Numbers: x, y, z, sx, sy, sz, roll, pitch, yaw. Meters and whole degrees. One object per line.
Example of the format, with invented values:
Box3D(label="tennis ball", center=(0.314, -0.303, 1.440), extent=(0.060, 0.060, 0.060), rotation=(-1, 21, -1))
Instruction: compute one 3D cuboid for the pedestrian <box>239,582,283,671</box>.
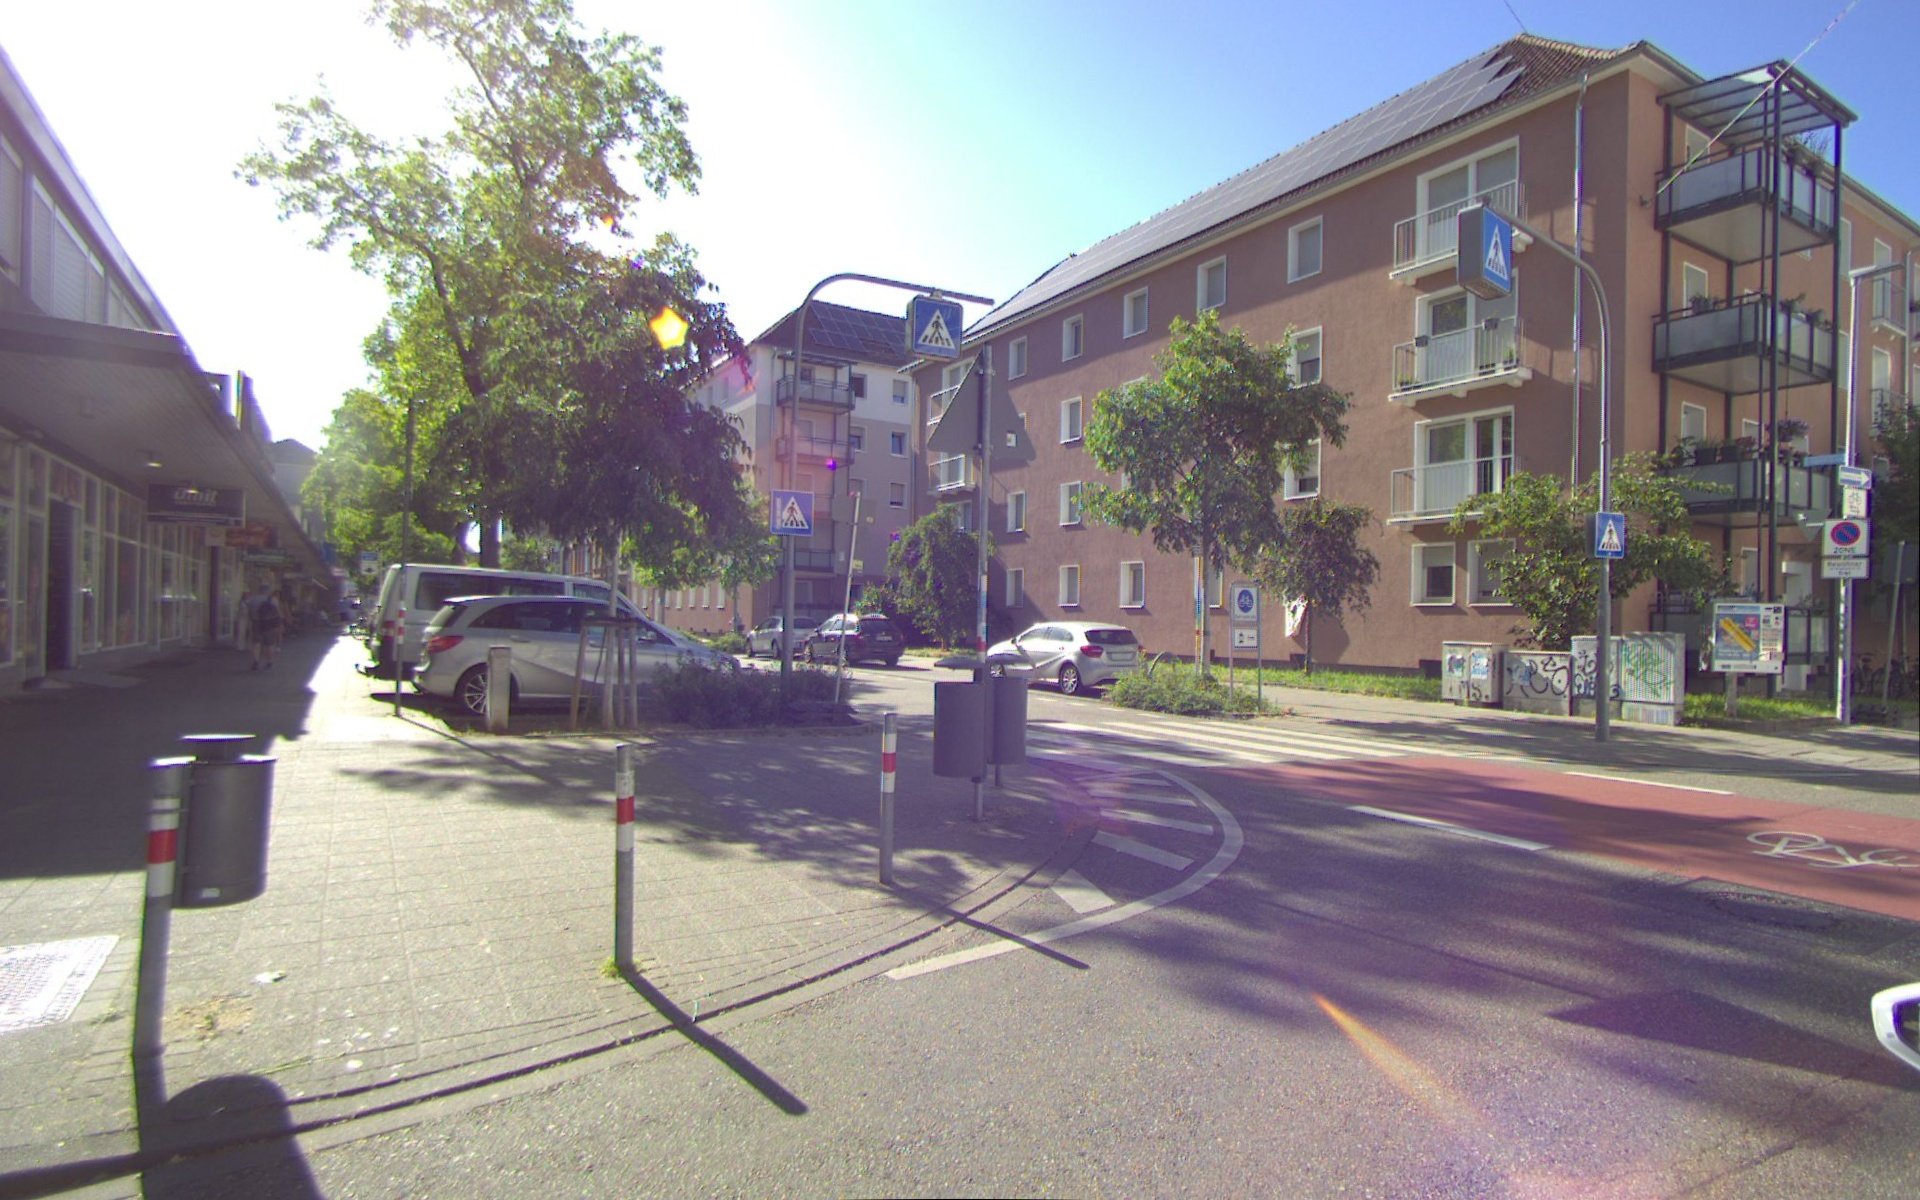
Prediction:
Box3D(label="pedestrian", center=(-13.528, 0.511, 19.449), extent=(0.560, 1.688, 0.707), rotation=(3, -1, -29))

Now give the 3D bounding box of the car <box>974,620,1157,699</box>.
Box3D(label="car", center=(2.126, 1.190, 21.358), extent=(1.726, 1.473, 4.120), rotation=(2, -1, -31))

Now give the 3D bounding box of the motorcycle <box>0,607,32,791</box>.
Box3D(label="motorcycle", center=(-6.432, 0.662, 6.163), extent=(0.662, 1.196, 1.906), rotation=(2, 0, -31))

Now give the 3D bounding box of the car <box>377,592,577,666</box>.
Box3D(label="car", center=(-12.791, 0.800, 26.708), extent=(4.591, 1.828, 1.821), rotation=(2, -2, -33))

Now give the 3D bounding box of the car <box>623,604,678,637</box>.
Box3D(label="car", center=(-14.944, 0.982, 48.392), extent=(1.725, 1.539, 3.827), rotation=(2, -1, -30))

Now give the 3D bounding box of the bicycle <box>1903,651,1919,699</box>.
Box3D(label="bicycle", center=(22.119, 1.731, 22.885), extent=(0.248, 1.086, 1.220), rotation=(1, -1, 8))

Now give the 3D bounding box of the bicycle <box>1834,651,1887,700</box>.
Box3D(label="bicycle", center=(20.907, 1.737, 23.335), extent=(0.285, 1.049, 1.217), rotation=(1, -1, 8))

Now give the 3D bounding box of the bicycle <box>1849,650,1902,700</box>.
Box3D(label="bicycle", center=(21.223, 1.717, 23.304), extent=(0.261, 1.086, 1.217), rotation=(1, -1, 8))

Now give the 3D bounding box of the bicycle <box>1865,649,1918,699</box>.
Box3D(label="bicycle", center=(21.556, 1.702, 23.260), extent=(0.248, 1.085, 1.217), rotation=(1, -1, 8))

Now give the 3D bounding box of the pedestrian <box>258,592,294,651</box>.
Box3D(label="pedestrian", center=(-18.329, 0.589, 26.920), extent=(0.681, 1.542, 0.528), rotation=(3, -1, -30))

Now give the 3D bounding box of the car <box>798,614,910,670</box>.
Box3D(label="car", center=(-3.259, 1.210, 30.216), extent=(1.768, 1.539, 4.274), rotation=(2, -1, -30))

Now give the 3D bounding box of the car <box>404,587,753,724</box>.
Box3D(label="car", center=(-5.219, 0.730, 13.930), extent=(4.257, 1.634, 1.743), rotation=(2, -1, -33))

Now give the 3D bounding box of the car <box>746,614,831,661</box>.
Box3D(label="car", center=(-6.115, 1.294, 35.547), extent=(1.725, 1.539, 3.827), rotation=(2, -1, -30))

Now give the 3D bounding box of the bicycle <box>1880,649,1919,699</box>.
Box3D(label="bicycle", center=(21.855, 1.696, 23.206), extent=(0.248, 1.086, 1.217), rotation=(1, -1, 8))

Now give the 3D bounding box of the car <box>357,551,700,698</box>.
Box3D(label="car", center=(-6.792, 0.465, 16.013), extent=(4.696, 2.032, 1.942), rotation=(4, -2, -34))
